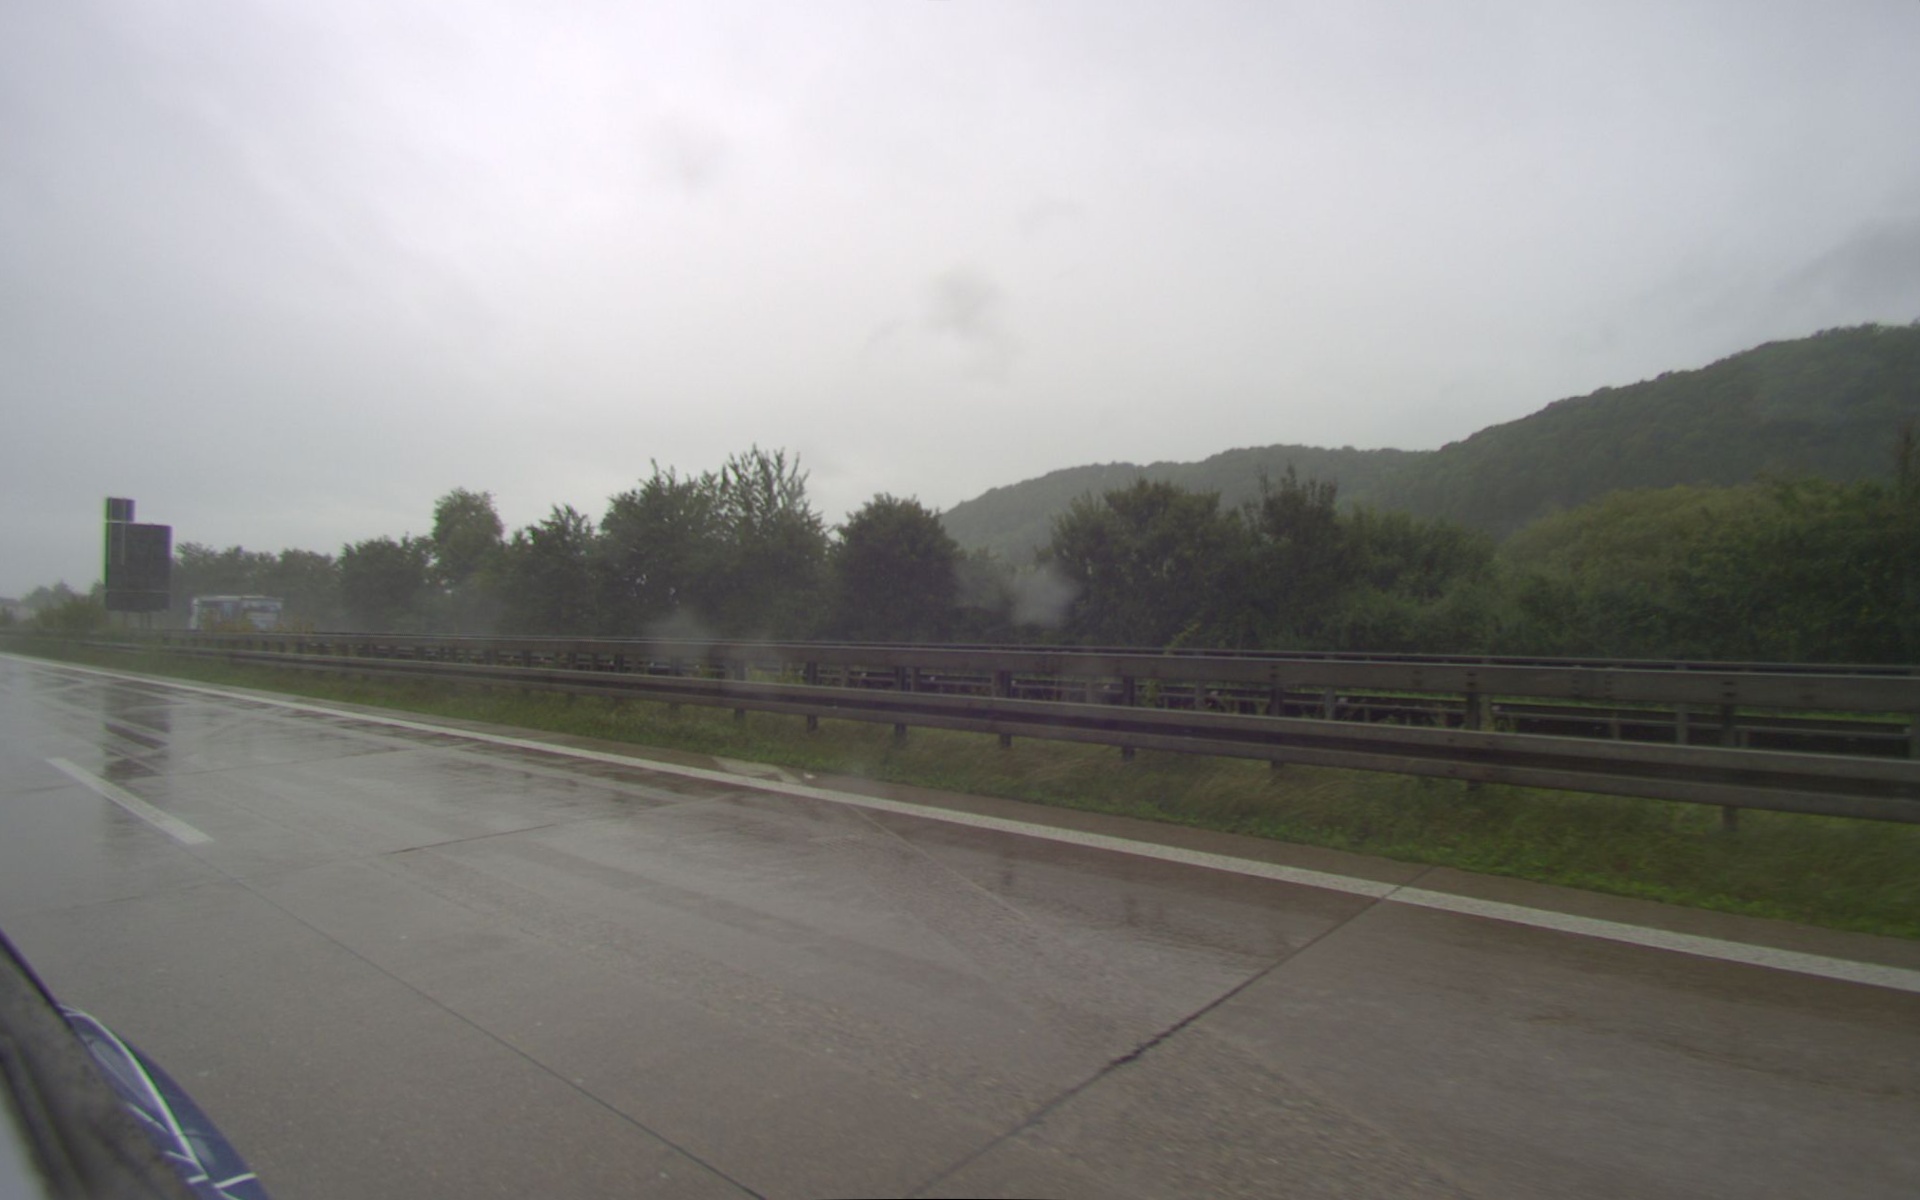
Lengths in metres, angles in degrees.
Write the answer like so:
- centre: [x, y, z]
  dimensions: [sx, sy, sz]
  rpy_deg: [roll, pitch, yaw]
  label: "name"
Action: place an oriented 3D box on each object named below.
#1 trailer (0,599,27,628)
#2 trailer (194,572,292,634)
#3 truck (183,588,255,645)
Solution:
- centre: [-123.919, 1.778, 130.991]
  dimensions: [13.694, 3.569, 2.824]
  rpy_deg: [-1, 0, 39]
  label: "trailer"
- centre: [-52.684, 0.328, 74.182]
  dimensions: [11.396, 4.205, 3.320]
  rpy_deg: [-1, -1, 41]
  label: "trailer"
- centre: [-57.266, 1.256, 78.185]
  dimensions: [5.516, 4.216, 3.338]
  rpy_deg: [-1, -1, 41]
  label: "truck"
